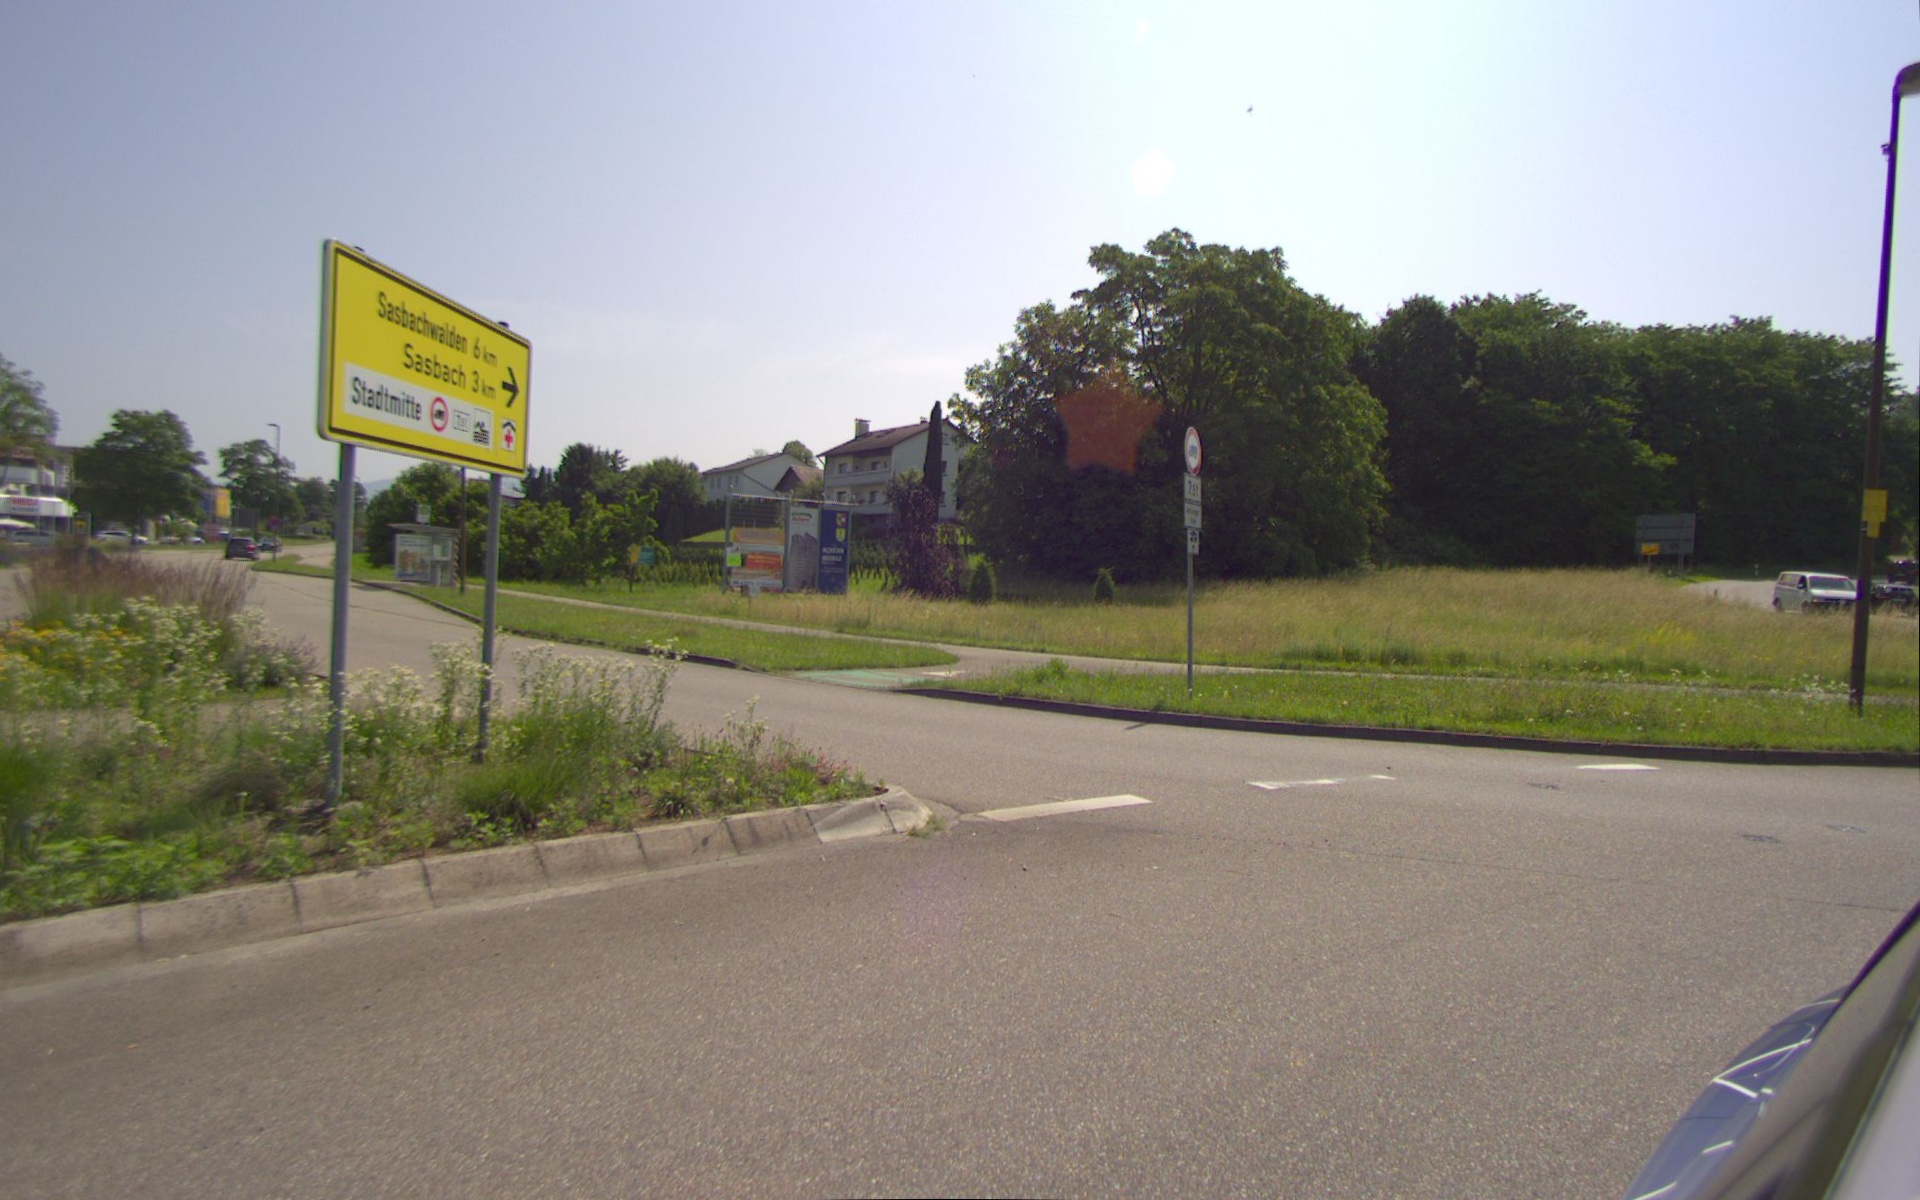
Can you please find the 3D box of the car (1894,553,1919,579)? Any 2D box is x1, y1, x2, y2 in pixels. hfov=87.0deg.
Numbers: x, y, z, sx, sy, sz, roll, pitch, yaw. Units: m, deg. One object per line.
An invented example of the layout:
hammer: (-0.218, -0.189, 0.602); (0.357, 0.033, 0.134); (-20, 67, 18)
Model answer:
car: (67.352, -2.332, 70.548); (4.284, 1.614, 1.917); (2, 3, -28)

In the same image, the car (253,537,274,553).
car: (-73.890, -5.850, 107.405); (1.740, 1.502, 4.044); (1, 3, -35)

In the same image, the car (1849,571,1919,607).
car: (44.780, -0.519, 48.581); (1.739, 1.548, 4.182); (5, 3, 22)

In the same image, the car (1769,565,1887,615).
car: (38.088, -0.510, 44.593); (1.975, 2.038, 5.569); (1, 2, 19)

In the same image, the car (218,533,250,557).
car: (-49.824, -3.795, 69.454); (1.740, 1.502, 4.042); (1, 3, -36)
